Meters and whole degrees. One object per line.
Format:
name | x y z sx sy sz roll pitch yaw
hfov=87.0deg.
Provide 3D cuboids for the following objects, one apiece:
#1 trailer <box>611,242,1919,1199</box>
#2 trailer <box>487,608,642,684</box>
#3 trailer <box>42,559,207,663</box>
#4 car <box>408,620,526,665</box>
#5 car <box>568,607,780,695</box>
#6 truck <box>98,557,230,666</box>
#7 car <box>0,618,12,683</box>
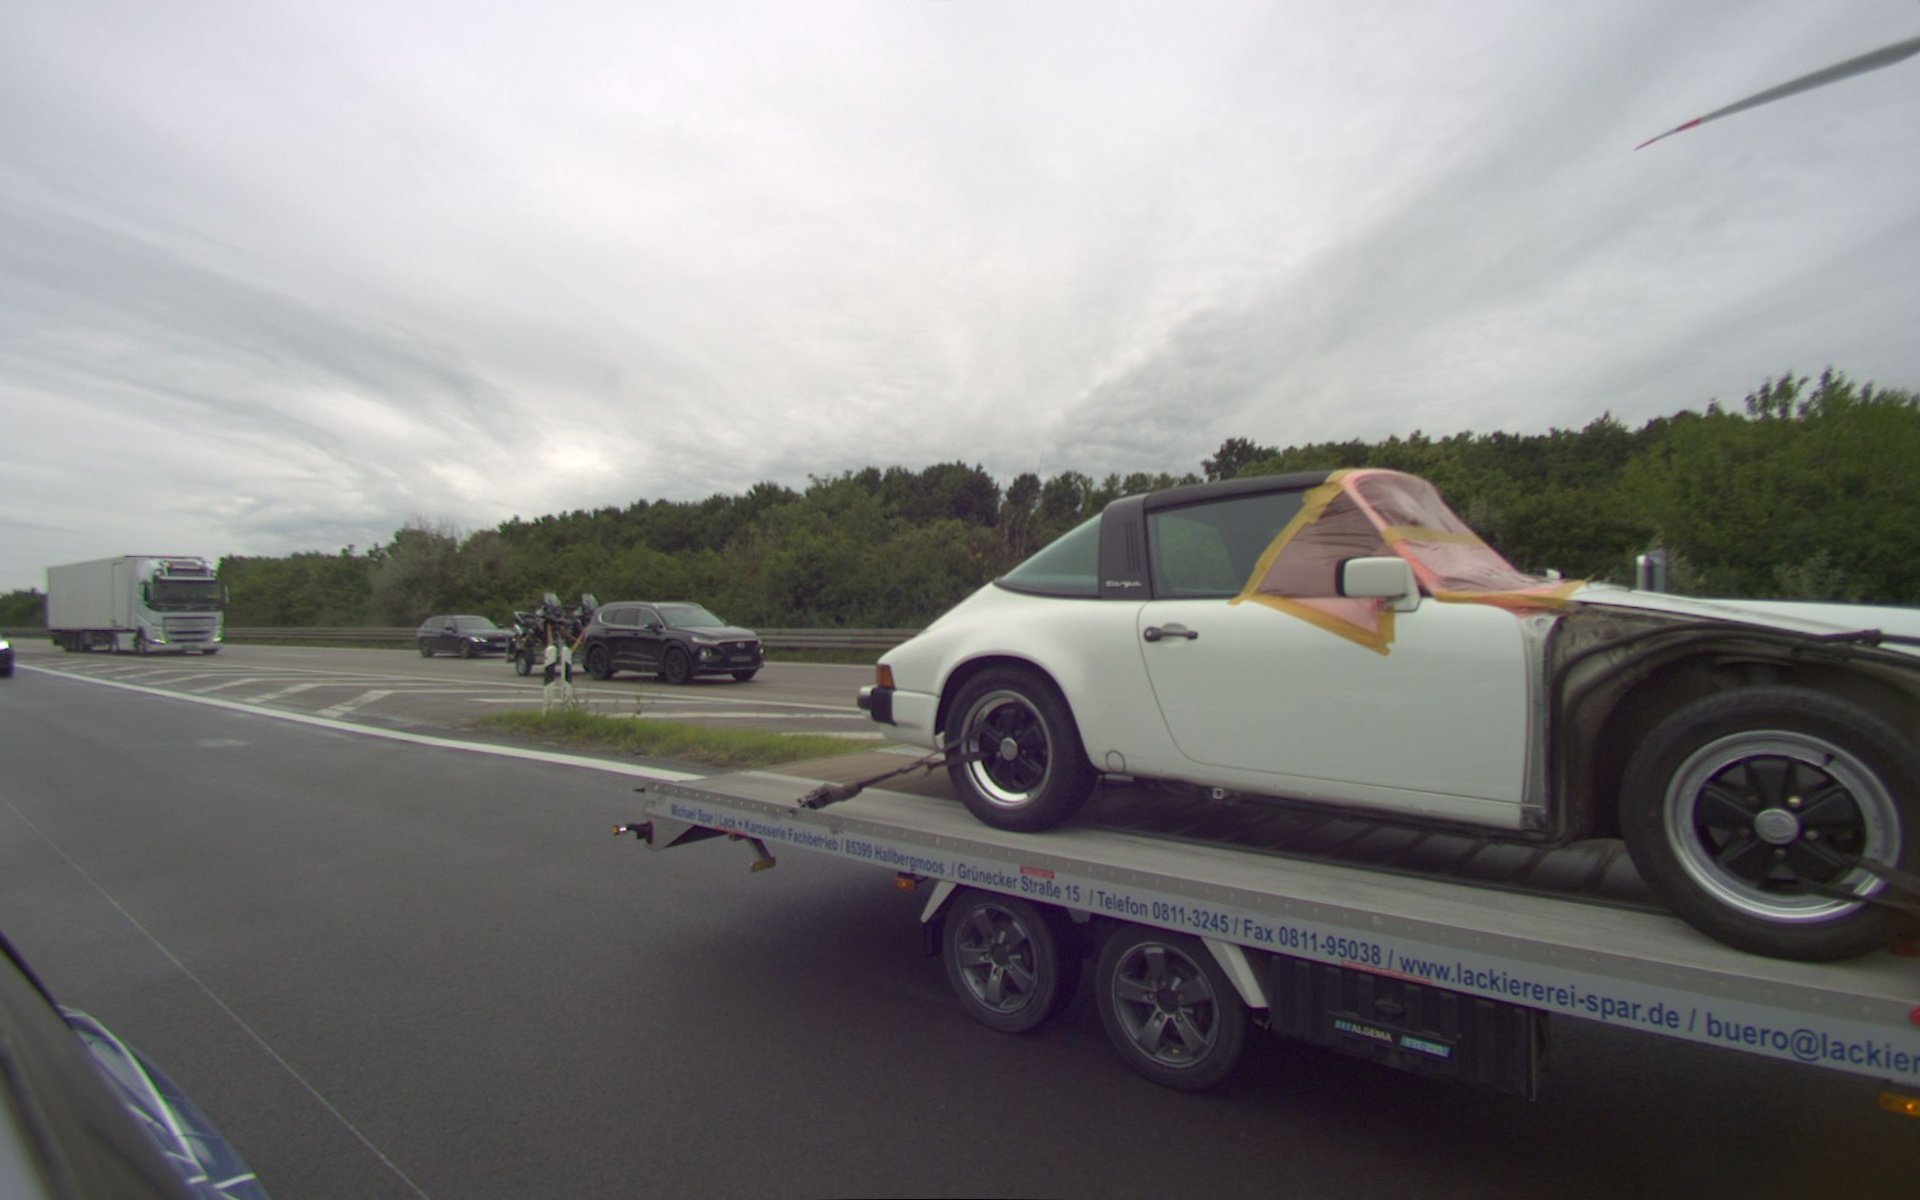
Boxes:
trailer | 1.819 0.339 3.487 7.058 2.009 2.459 -1 0 40
trailer | -9.387 1.028 23.961 3.606 1.638 1.864 -1 0 38
trailer | -38.190 0.546 45.958 13.930 4.166 2.740 -1 0 38
car | -17.106 1.432 34.994 4.769 1.402 1.786 -1 0 38
car | -6.120 0.988 21.368 4.801 1.638 1.864 -1 0 38
truck | -33.050 0.481 41.946 6.435 4.166 2.740 -1 0 38
car | -26.728 1.325 26.774 4.551 1.650 1.941 -1 0 41
